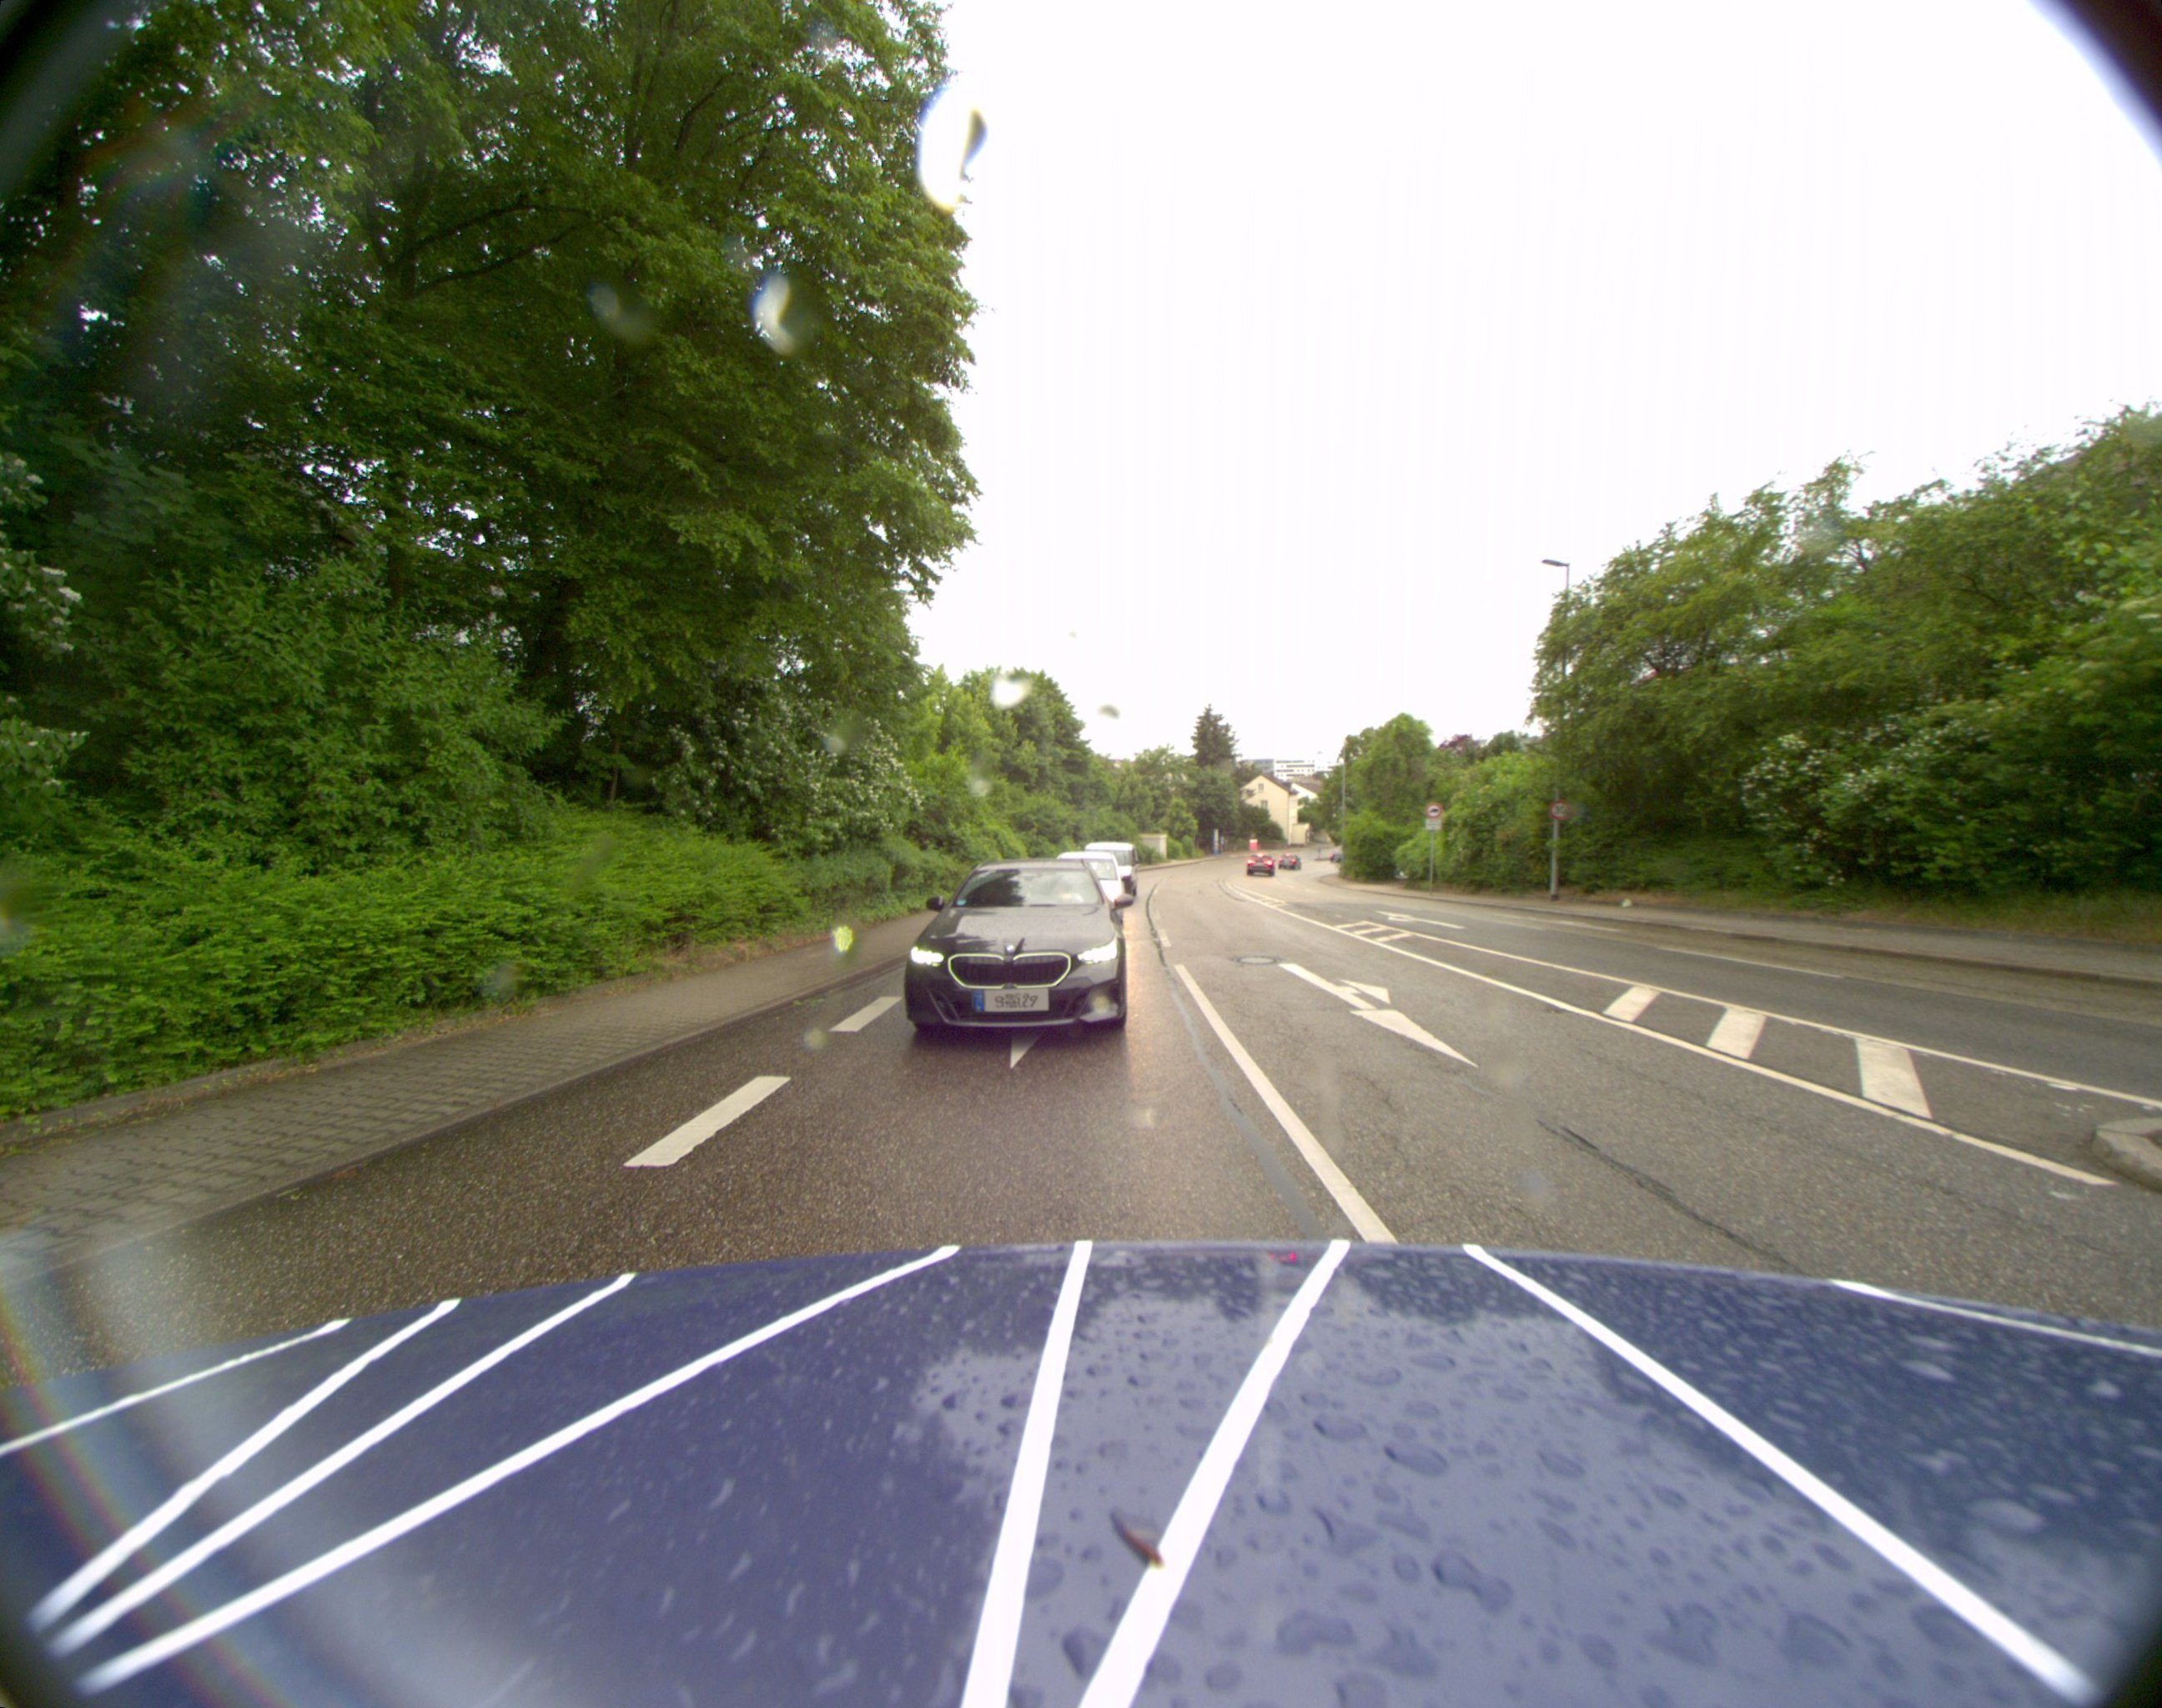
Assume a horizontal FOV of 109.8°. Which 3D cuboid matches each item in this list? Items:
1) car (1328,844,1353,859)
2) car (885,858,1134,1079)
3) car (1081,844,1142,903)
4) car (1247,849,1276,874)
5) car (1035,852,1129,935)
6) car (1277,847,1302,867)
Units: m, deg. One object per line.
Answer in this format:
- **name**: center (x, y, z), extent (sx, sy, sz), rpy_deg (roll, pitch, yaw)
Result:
- **car**: center (33.408, -0.318, 97.629), extent (1.994, 1.903, 4.008), rpy_deg (0, 0, 36)
- **car**: center (-0.509, 0.875, 7.784), extent (1.867, 1.547, 4.118), rpy_deg (0, 1, 1)
- **car**: center (1.071, 0.558, 25.011), extent (1.814, 1.797, 4.120), rpy_deg (0, 1, 4)
- **car**: center (14.447, 0.596, 60.798), extent (1.958, 1.835, 4.005), rpy_deg (2, 1, 17)
- **car**: center (0.042, 0.763, 16.815), extent (1.814, 1.547, 4.119), rpy_deg (0, 1, 1)
- **car**: center (21.770, 0.325, 79.216), extent (2.128, 2.002, 4.092), rpy_deg (0, 0, 21)
